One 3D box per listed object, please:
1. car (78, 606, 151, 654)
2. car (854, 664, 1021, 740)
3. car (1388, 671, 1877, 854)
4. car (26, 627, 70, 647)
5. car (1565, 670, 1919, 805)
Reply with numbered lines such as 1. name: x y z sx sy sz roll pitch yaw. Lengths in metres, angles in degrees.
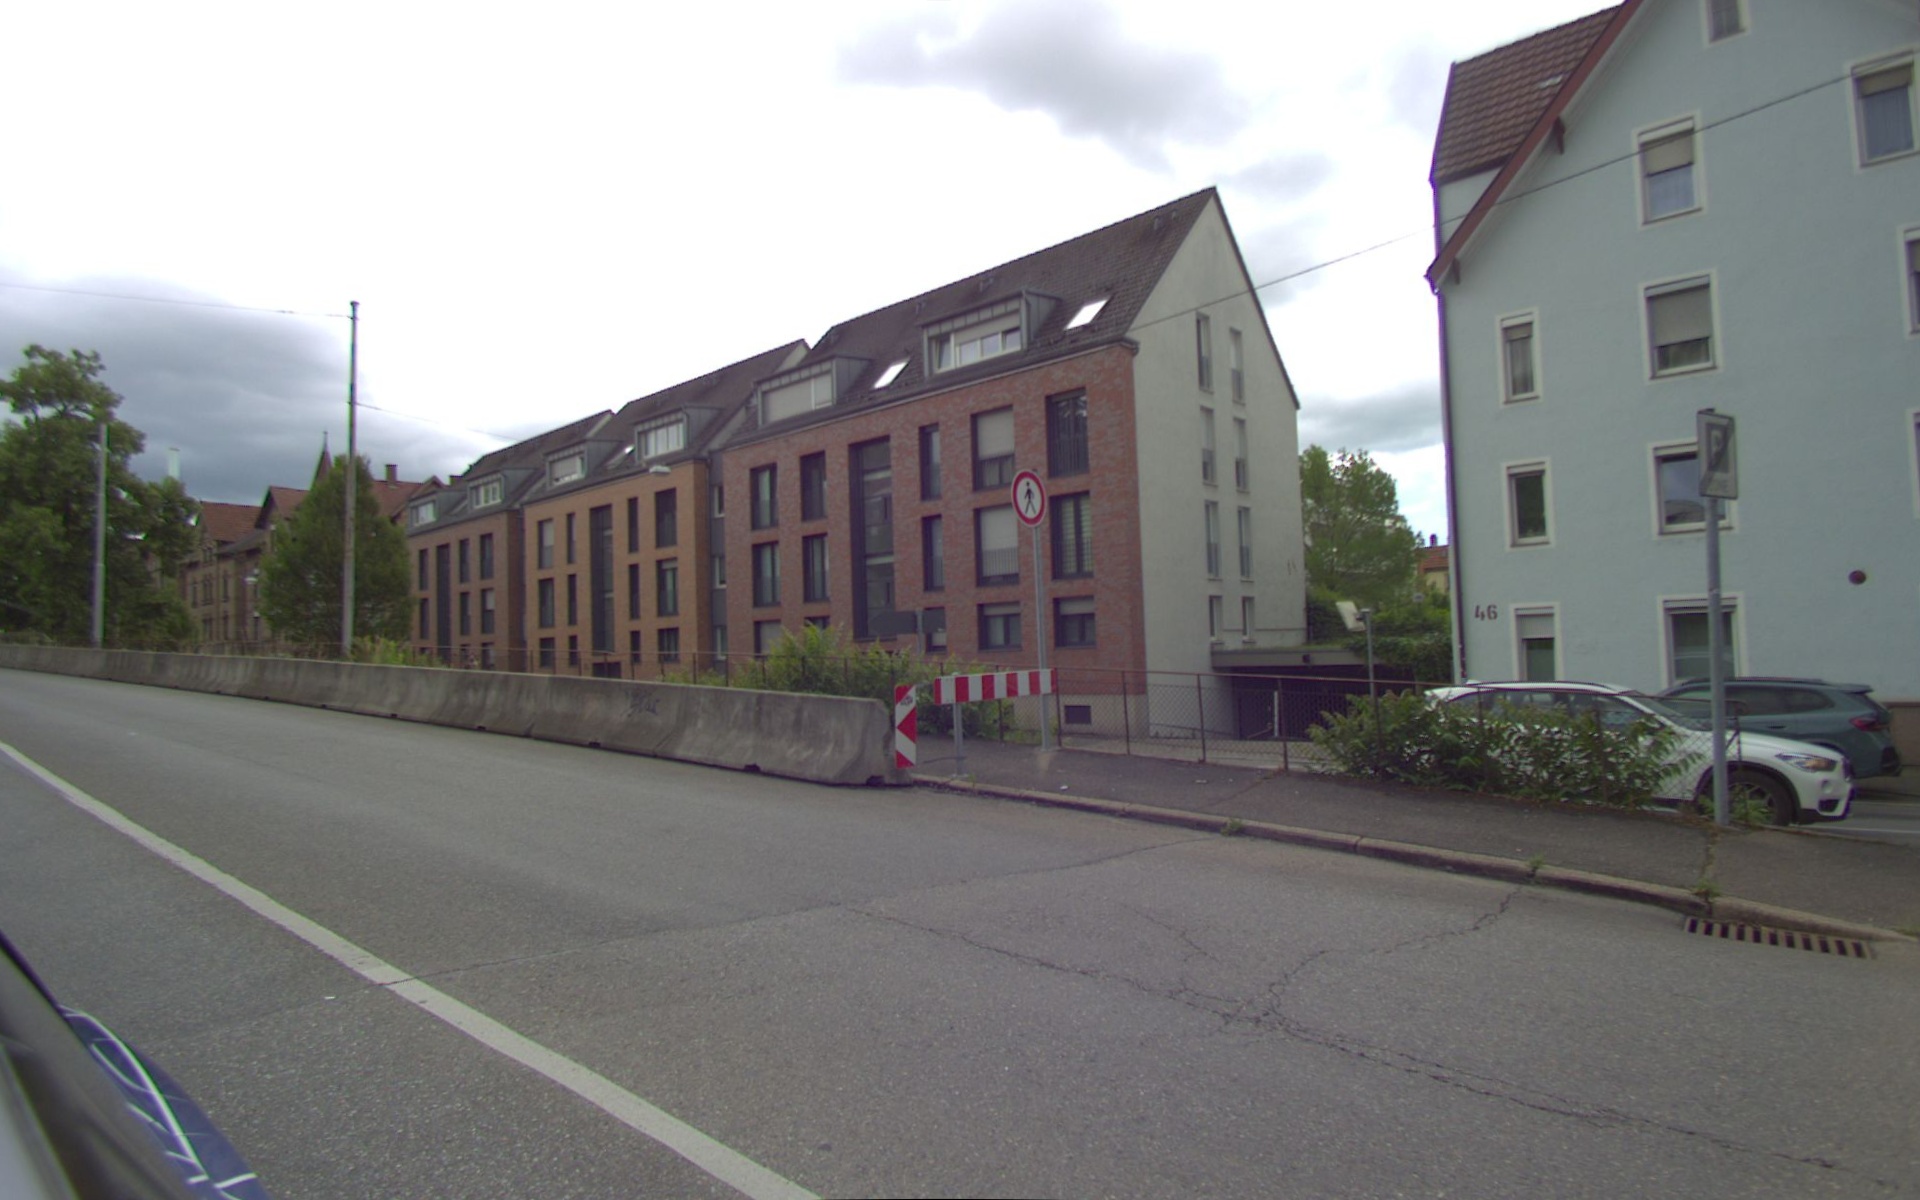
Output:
1. car: -48.305 1.636 57.805 5.736 2.601 2.531 0 0 43
2. car: -0.621 2.568 26.241 3.994 1.674 1.974 -1 -2 38
3. car: 7.523 1.674 11.647 4.421 1.525 1.808 -2 -2 42
4. car: -70.502 2.845 78.211 3.997 1.564 1.973 -1 -2 40
5. car: 11.438 1.890 14.781 4.231 1.567 1.664 -2 -2 41
